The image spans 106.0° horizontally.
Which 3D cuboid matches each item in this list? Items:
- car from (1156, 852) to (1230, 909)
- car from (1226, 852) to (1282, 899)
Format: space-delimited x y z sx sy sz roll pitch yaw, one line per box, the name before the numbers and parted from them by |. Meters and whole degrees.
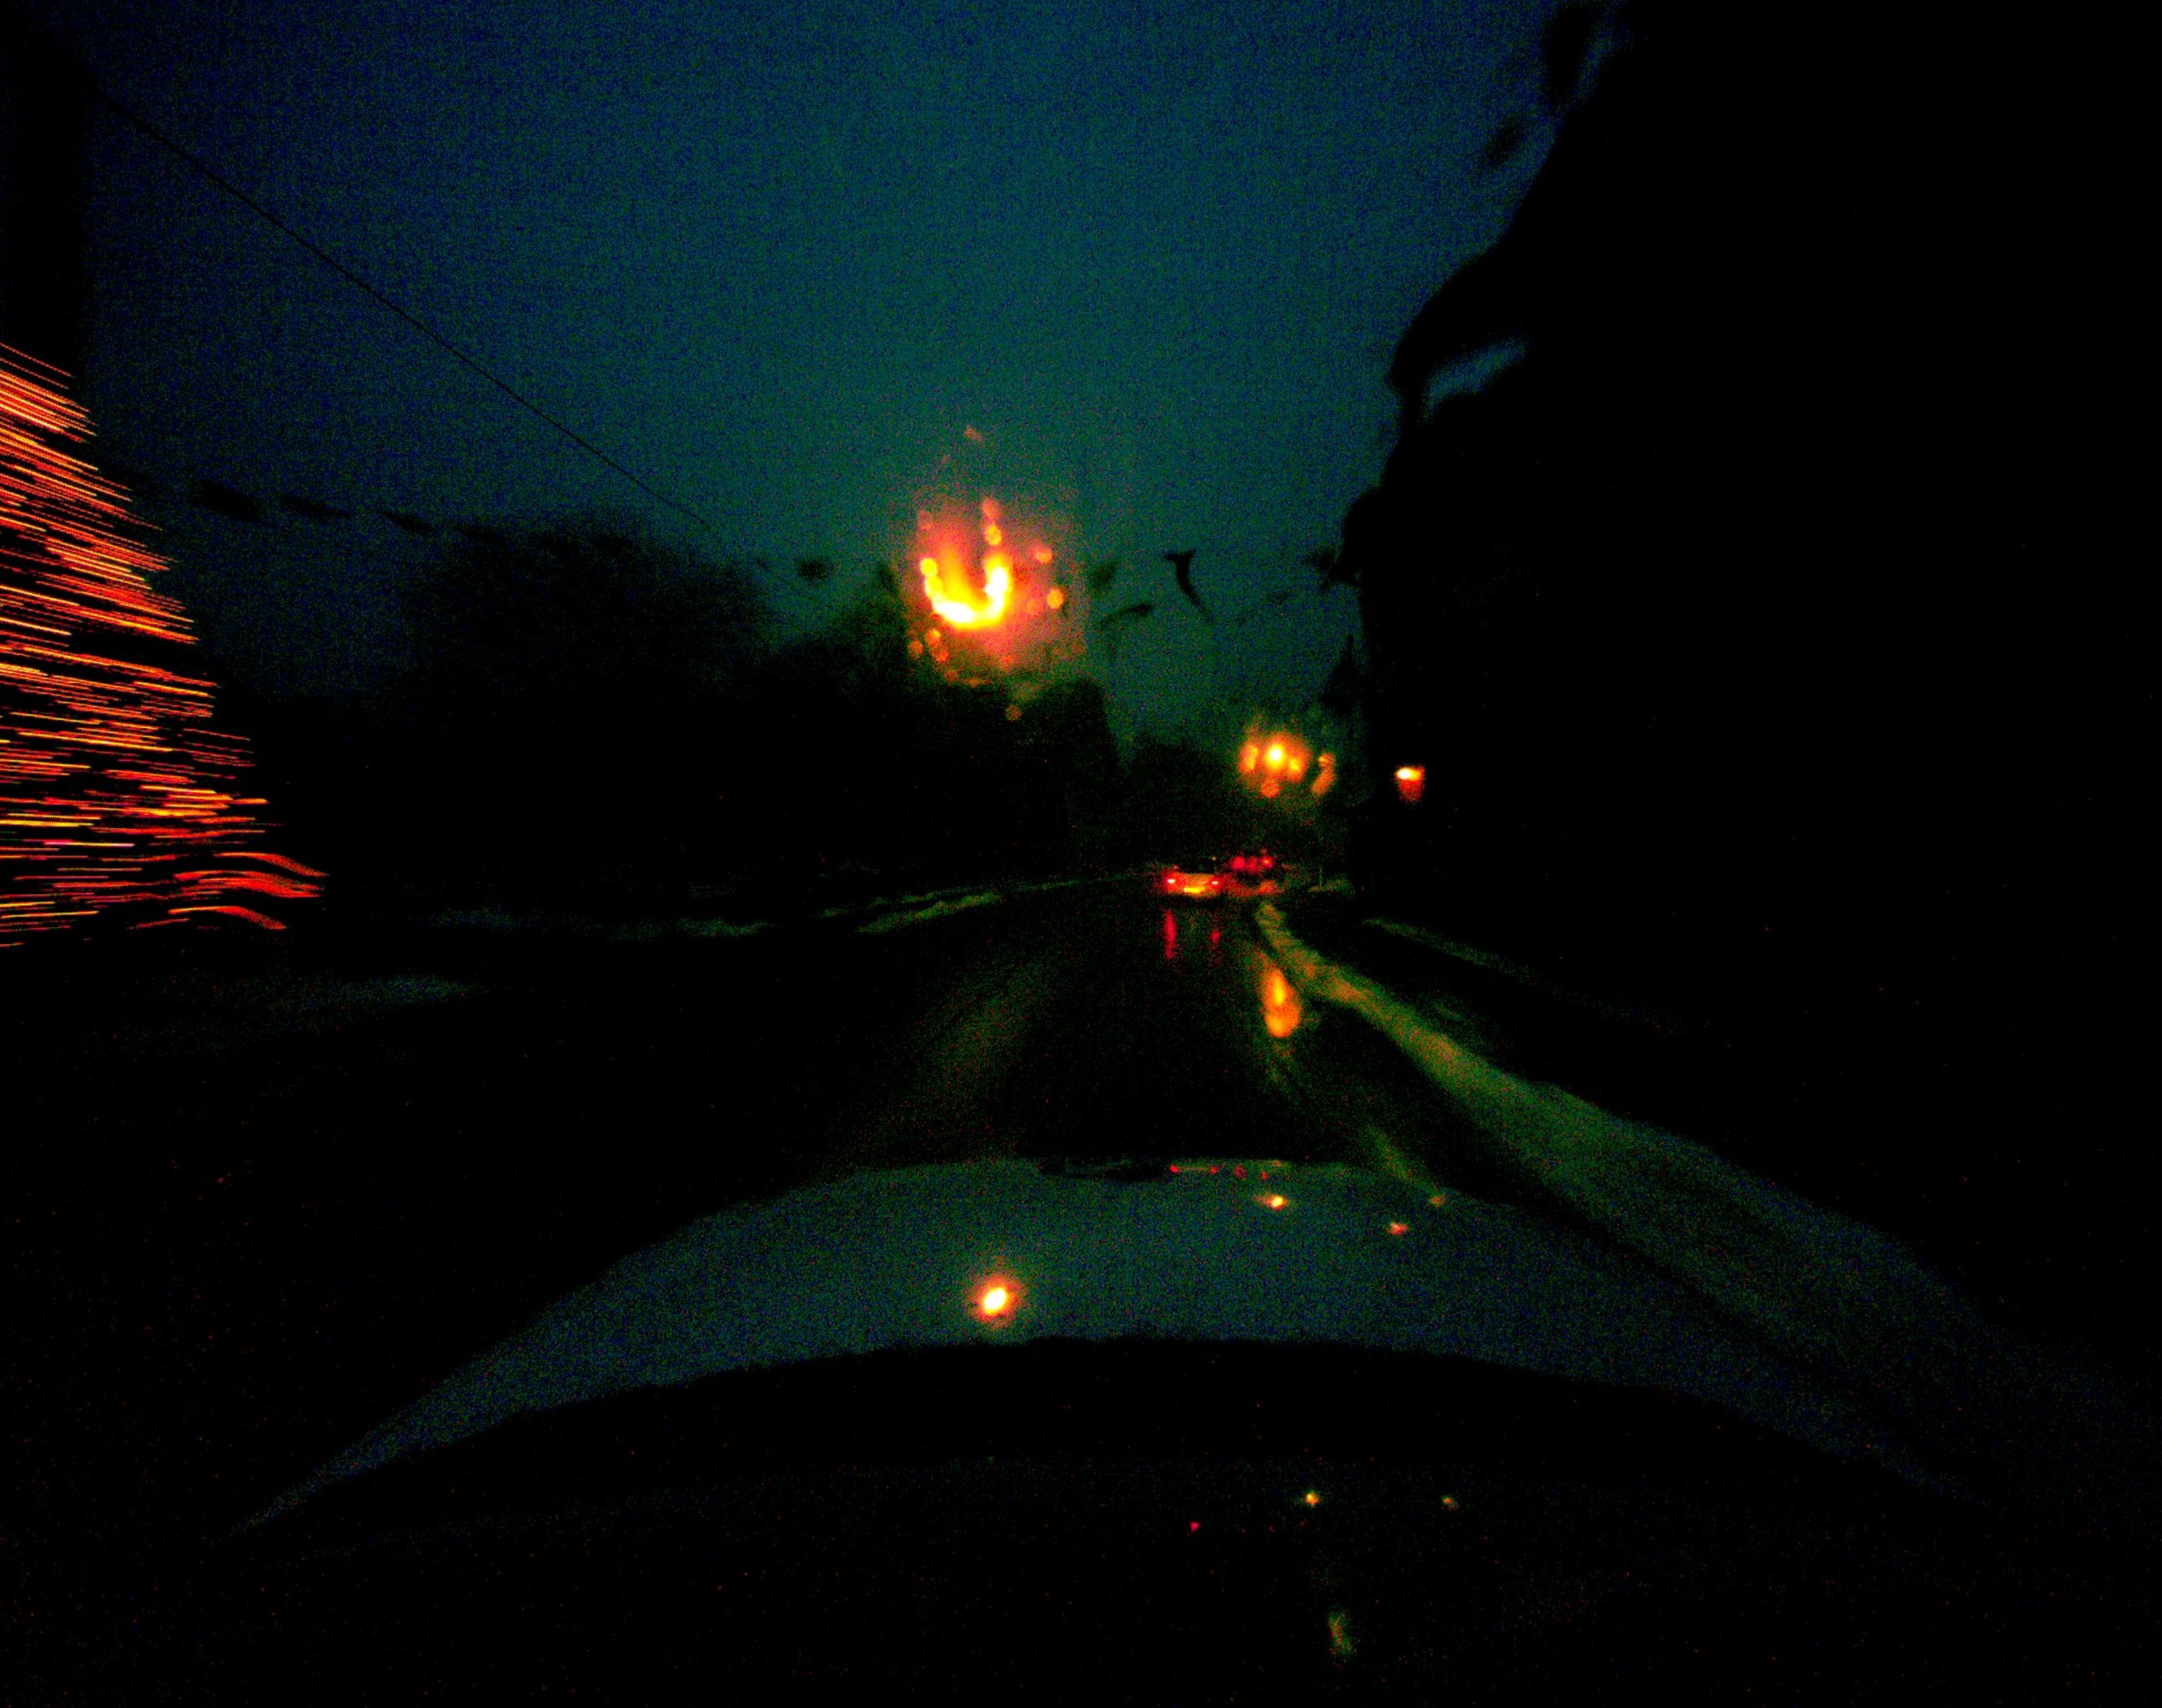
car | 3.343 0.835 24.826 1.983 1.508 4.006 3 -2 6
car | 8.284 1.065 38.679 1.977 2.014 4.019 2 -3 20
